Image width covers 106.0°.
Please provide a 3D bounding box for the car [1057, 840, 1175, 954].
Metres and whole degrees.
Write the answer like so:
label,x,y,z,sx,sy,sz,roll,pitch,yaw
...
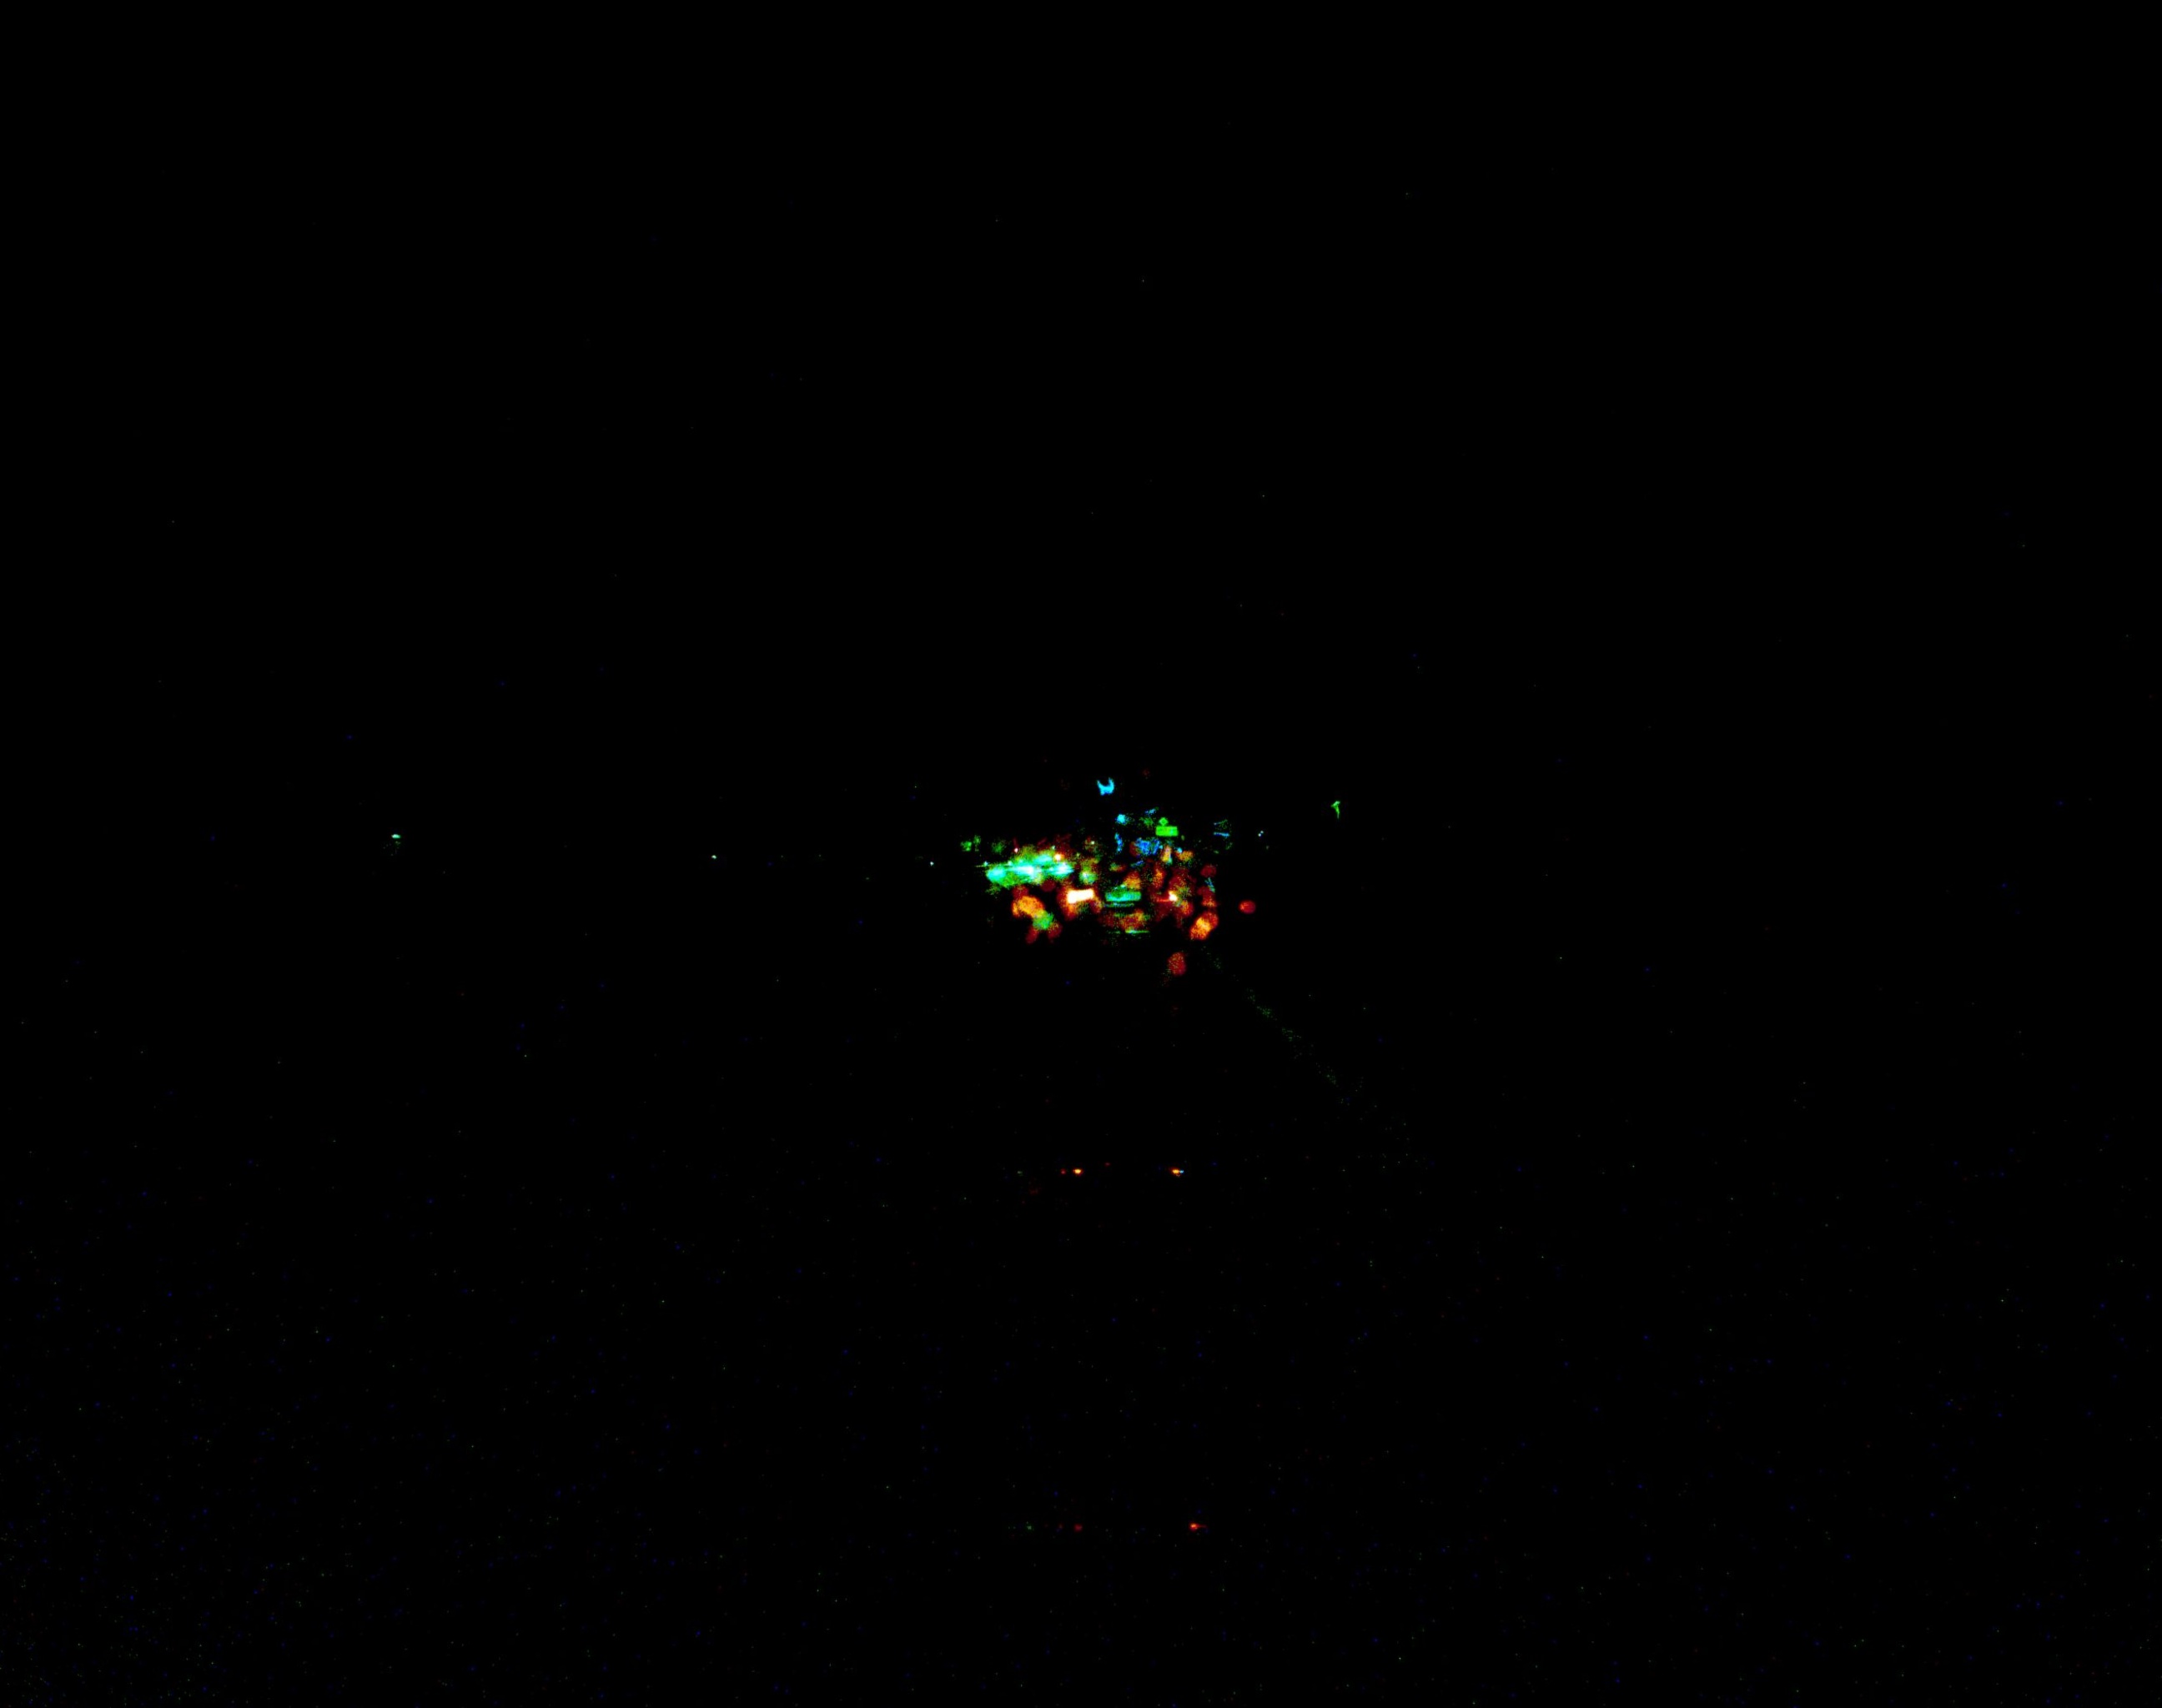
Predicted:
label,x,y,z,sx,sy,sz,roll,pitch,yaw
car,0.609,0.673,14.340,1.768,1.712,4.002,-1,-1,2
